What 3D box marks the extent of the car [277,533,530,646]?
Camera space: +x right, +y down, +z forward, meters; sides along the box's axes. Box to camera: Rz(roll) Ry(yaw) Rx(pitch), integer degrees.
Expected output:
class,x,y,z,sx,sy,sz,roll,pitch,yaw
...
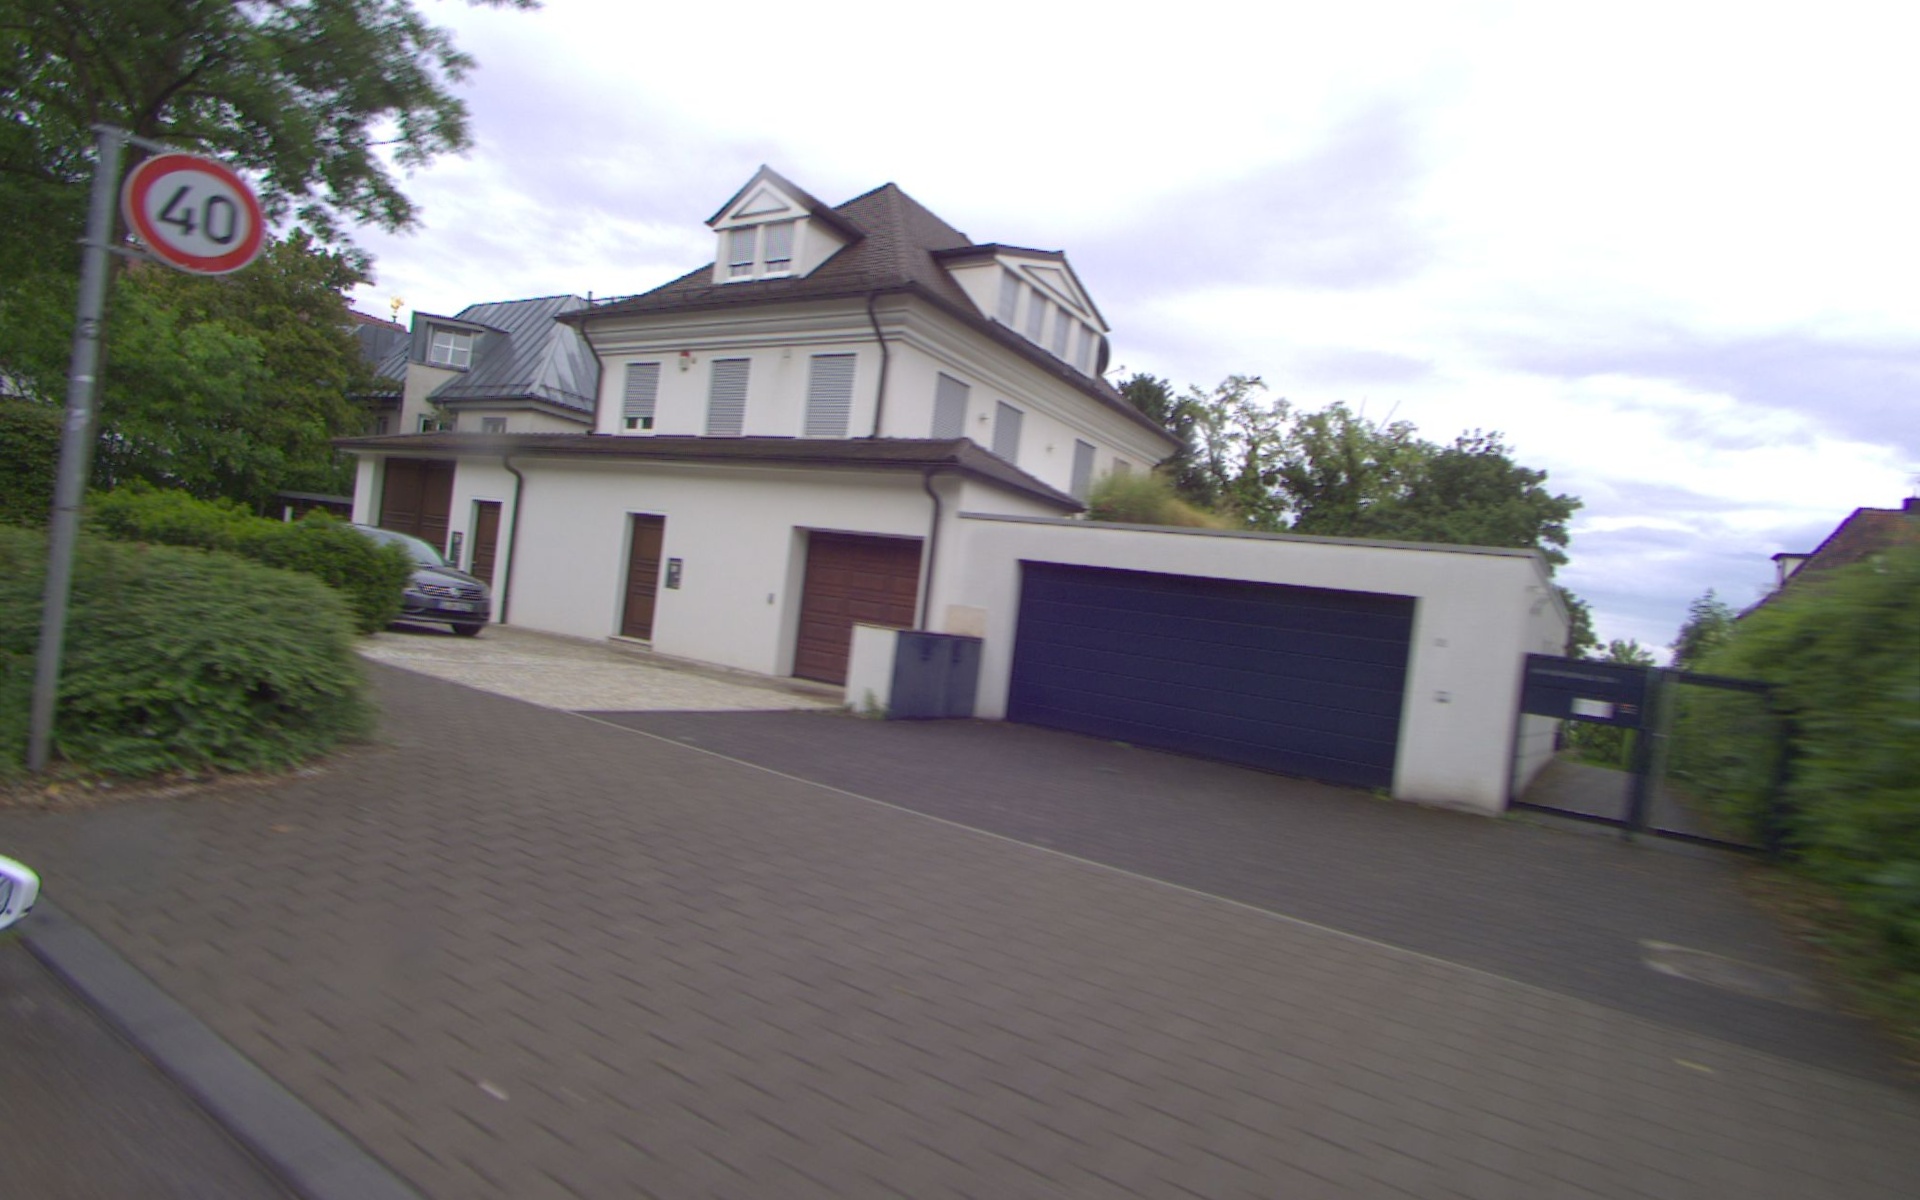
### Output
class,x,y,z,sx,sy,sz,roll,pitch,yaw
car,-8.511,-0.189,15.281,3.939,1.190,1.833,7,-2,37
